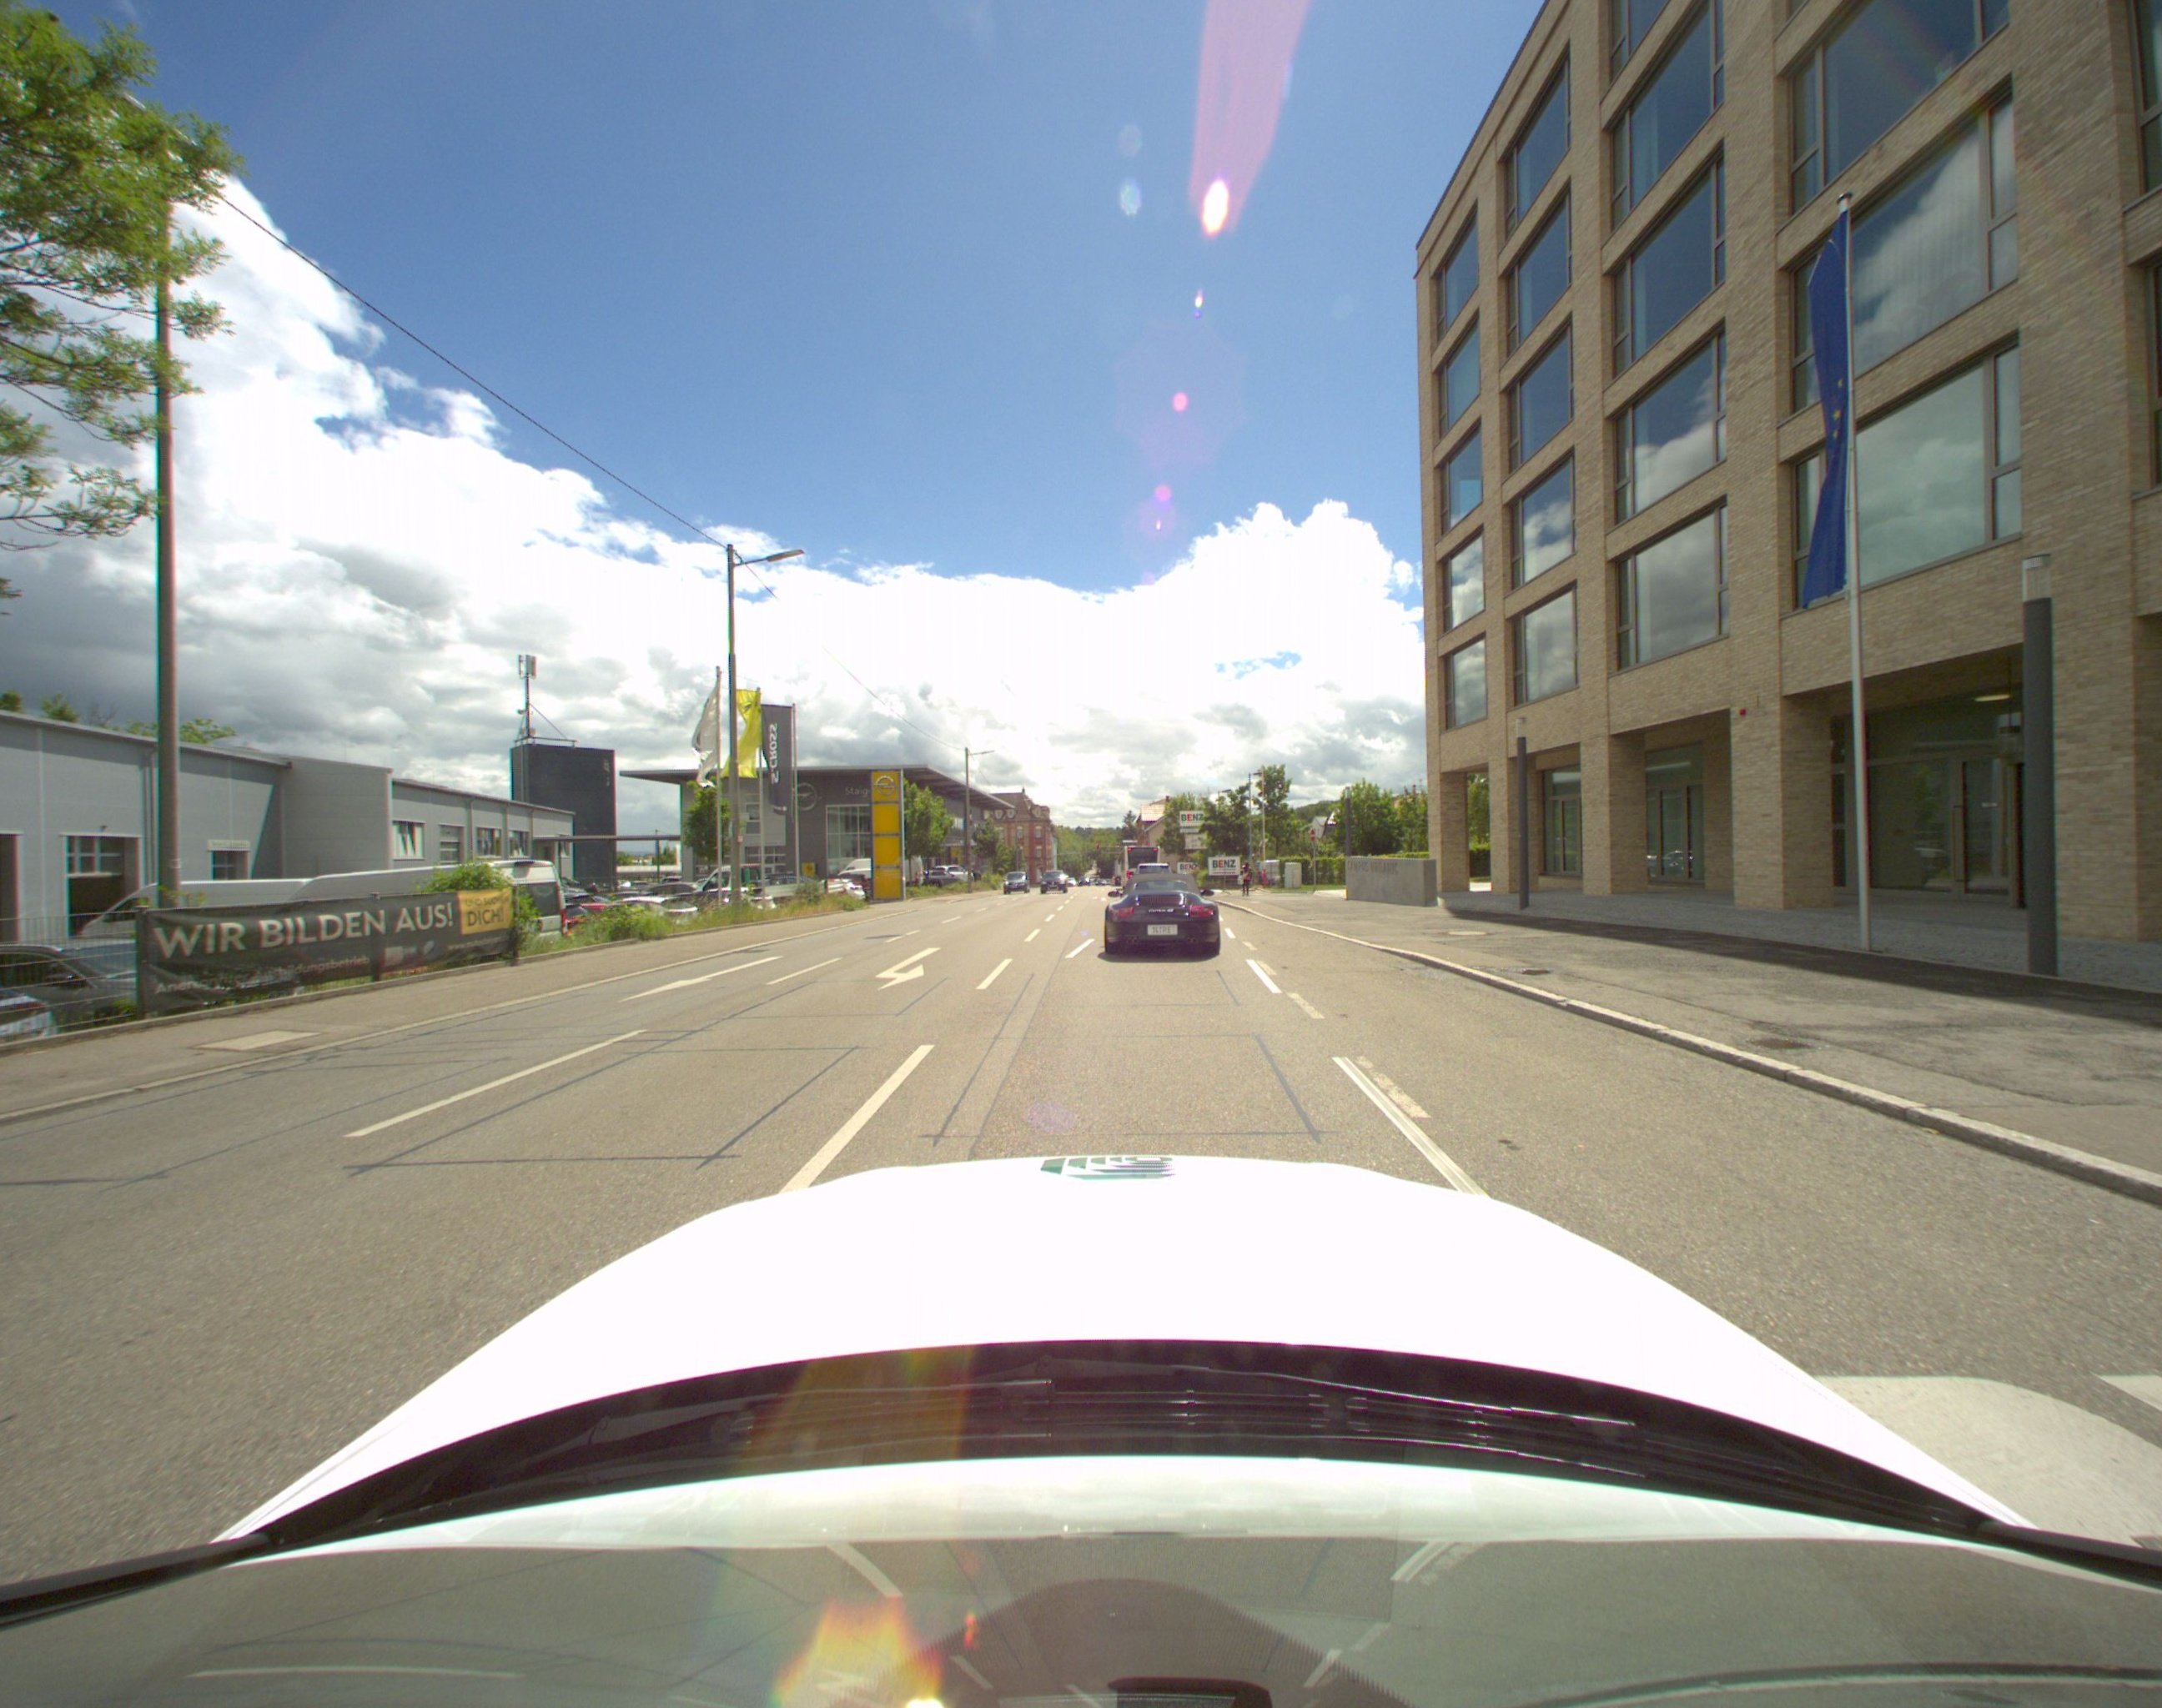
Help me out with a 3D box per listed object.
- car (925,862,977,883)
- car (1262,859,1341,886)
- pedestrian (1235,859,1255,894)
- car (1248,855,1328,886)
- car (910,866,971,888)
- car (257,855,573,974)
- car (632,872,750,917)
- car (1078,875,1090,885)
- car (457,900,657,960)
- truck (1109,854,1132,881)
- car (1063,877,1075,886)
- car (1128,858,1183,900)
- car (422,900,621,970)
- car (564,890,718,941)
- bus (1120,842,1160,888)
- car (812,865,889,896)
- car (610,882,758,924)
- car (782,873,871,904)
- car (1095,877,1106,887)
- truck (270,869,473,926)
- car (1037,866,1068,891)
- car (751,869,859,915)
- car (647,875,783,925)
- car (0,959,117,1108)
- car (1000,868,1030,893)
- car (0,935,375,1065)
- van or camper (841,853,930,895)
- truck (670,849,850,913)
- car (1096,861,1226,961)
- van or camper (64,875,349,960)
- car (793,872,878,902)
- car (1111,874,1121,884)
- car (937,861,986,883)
[{"bbox_3d":[-10.525,1.504,66.117,1.913,1.573,4.579,-2,-2,25],"label":"car"},{"bbox_3d":[13.946,1.204,51.699,4.417,1.482,2.000,-3,-2,0],"label":"car"},{"bbox_3d":[7.362,0.988,36.562,0.685,1.536,0.856,-2,-1,1],"label":"pedestrian"},{"bbox_3d":[13.810,1.107,54.533,4.701,1.848,2.084,-3,-2,-6],"label":"car"},{"bbox_3d":[-10.463,1.709,61.006,1.877,1.450,4.862,-1,1,29],"label":"car"},{"bbox_3d":[-12.577,1.083,15.649,4.148,2.013,2.198,-1,0,-1],"label":"car"},{"bbox_3d":[-16.760,1.723,35.127,4.065,1.522,1.826,-4,0,0],"label":"car"},{"bbox_3d":[0.544,4.266,134.940,1.857,1.541,4.106,-1,-2,1],"label":"car"},{"bbox_3d":[-13.607,1.957,21.285,4.014,1.386,1.931,-1,-2,5],"label":"car"},{"bbox_3d":[4.877,1.794,101.474,2.656,3.108,9.038,-2,-2,2],"label":"truck"},{"bbox_3d":[-2.056,4.807,143.491,1.857,1.541,4.107,-1,-2,1],"label":"car"},{"bbox_3d":[3.068,1.016,34.430,1.924,1.583,4.207,-1,0,0],"label":"car"},{"bbox_3d":[-12.563,1.807,18.423,3.321,1.409,1.729,-1,-2,5],"label":"car"},{"bbox_3d":[-12.669,1.751,23.558,3.529,1.325,1.713,-1,-2,5],"label":"car"},{"bbox_3d":[4.556,0.725,63.935,2.790,3.197,12.207,-1,1,3],"label":"bus"},{"bbox_3d":[-14.072,1.616,49.865,3.966,1.706,2.004,-1,0,6],"label":"car"},{"bbox_3d":[-12.512,1.535,25.825,3.703,1.211,1.929,-1,-2,1],"label":"car"},{"bbox_3d":[-13.274,1.787,42.685,3.974,1.409,2.000,-1,1,0],"label":"car"},{"bbox_3d":[3.558,5.057,147.430,1.857,1.666,4.259,-1,-2,1],"label":"car"},{"bbox_3d":[-31.741,1.898,36.779,6.312,2.229,2.684,-1,-2,-19],"label":"truck"},{"bbox_3d":[-1.833,1.593,53.080,1.823,1.509,4.276,-2,-1,0],"label":"car"},{"bbox_3d":[-11.913,1.625,35.340,3.972,1.588,1.755,-4,0,2],"label":"car"},{"bbox_3d":[-12.815,1.595,28.686,3.871,1.609,1.929,-1,-2,1],"label":"car"},{"bbox_3d":[-12.822,1.881,8.176,4.017,1.386,1.929,-1,-2,2],"label":"car"},{"bbox_3d":[-4.727,1.870,58.986,1.738,1.595,4.042,-4,-1,0],"label":"car"},{"bbox_3d":[-12.205,1.871,10.811,4.016,1.386,1.929,-1,-2,2],"label":"car"},{"bbox_3d":[-12.521,1.270,52.414,5.009,2.531,2.318,-1,0,1],"label":"van or camper"},{"bbox_3d":[-12.184,1.022,31.300,5.845,2.148,2.475,-2,-2,-2],"label":"truck"},{"bbox_3d":[1.311,0.881,14.383,1.923,1.376,4.211,-1,1,3],"label":"car"},{"bbox_3d":[-28.588,1.989,26.968,5.896,2.355,2.489,-2,0,-17],"label":"van or camper"},{"bbox_3d":[-13.533,1.797,45.076,3.969,1.491,2.002,-1,1,4],"label":"car"},{"bbox_3d":[6.873,4.995,161.192,1.826,1.882,3.999,-2,-1,0],"label":"car"},{"bbox_3d":[-10.416,1.535,71.195,1.975,1.698,4.512,-1,1,27],"label":"car"}]
